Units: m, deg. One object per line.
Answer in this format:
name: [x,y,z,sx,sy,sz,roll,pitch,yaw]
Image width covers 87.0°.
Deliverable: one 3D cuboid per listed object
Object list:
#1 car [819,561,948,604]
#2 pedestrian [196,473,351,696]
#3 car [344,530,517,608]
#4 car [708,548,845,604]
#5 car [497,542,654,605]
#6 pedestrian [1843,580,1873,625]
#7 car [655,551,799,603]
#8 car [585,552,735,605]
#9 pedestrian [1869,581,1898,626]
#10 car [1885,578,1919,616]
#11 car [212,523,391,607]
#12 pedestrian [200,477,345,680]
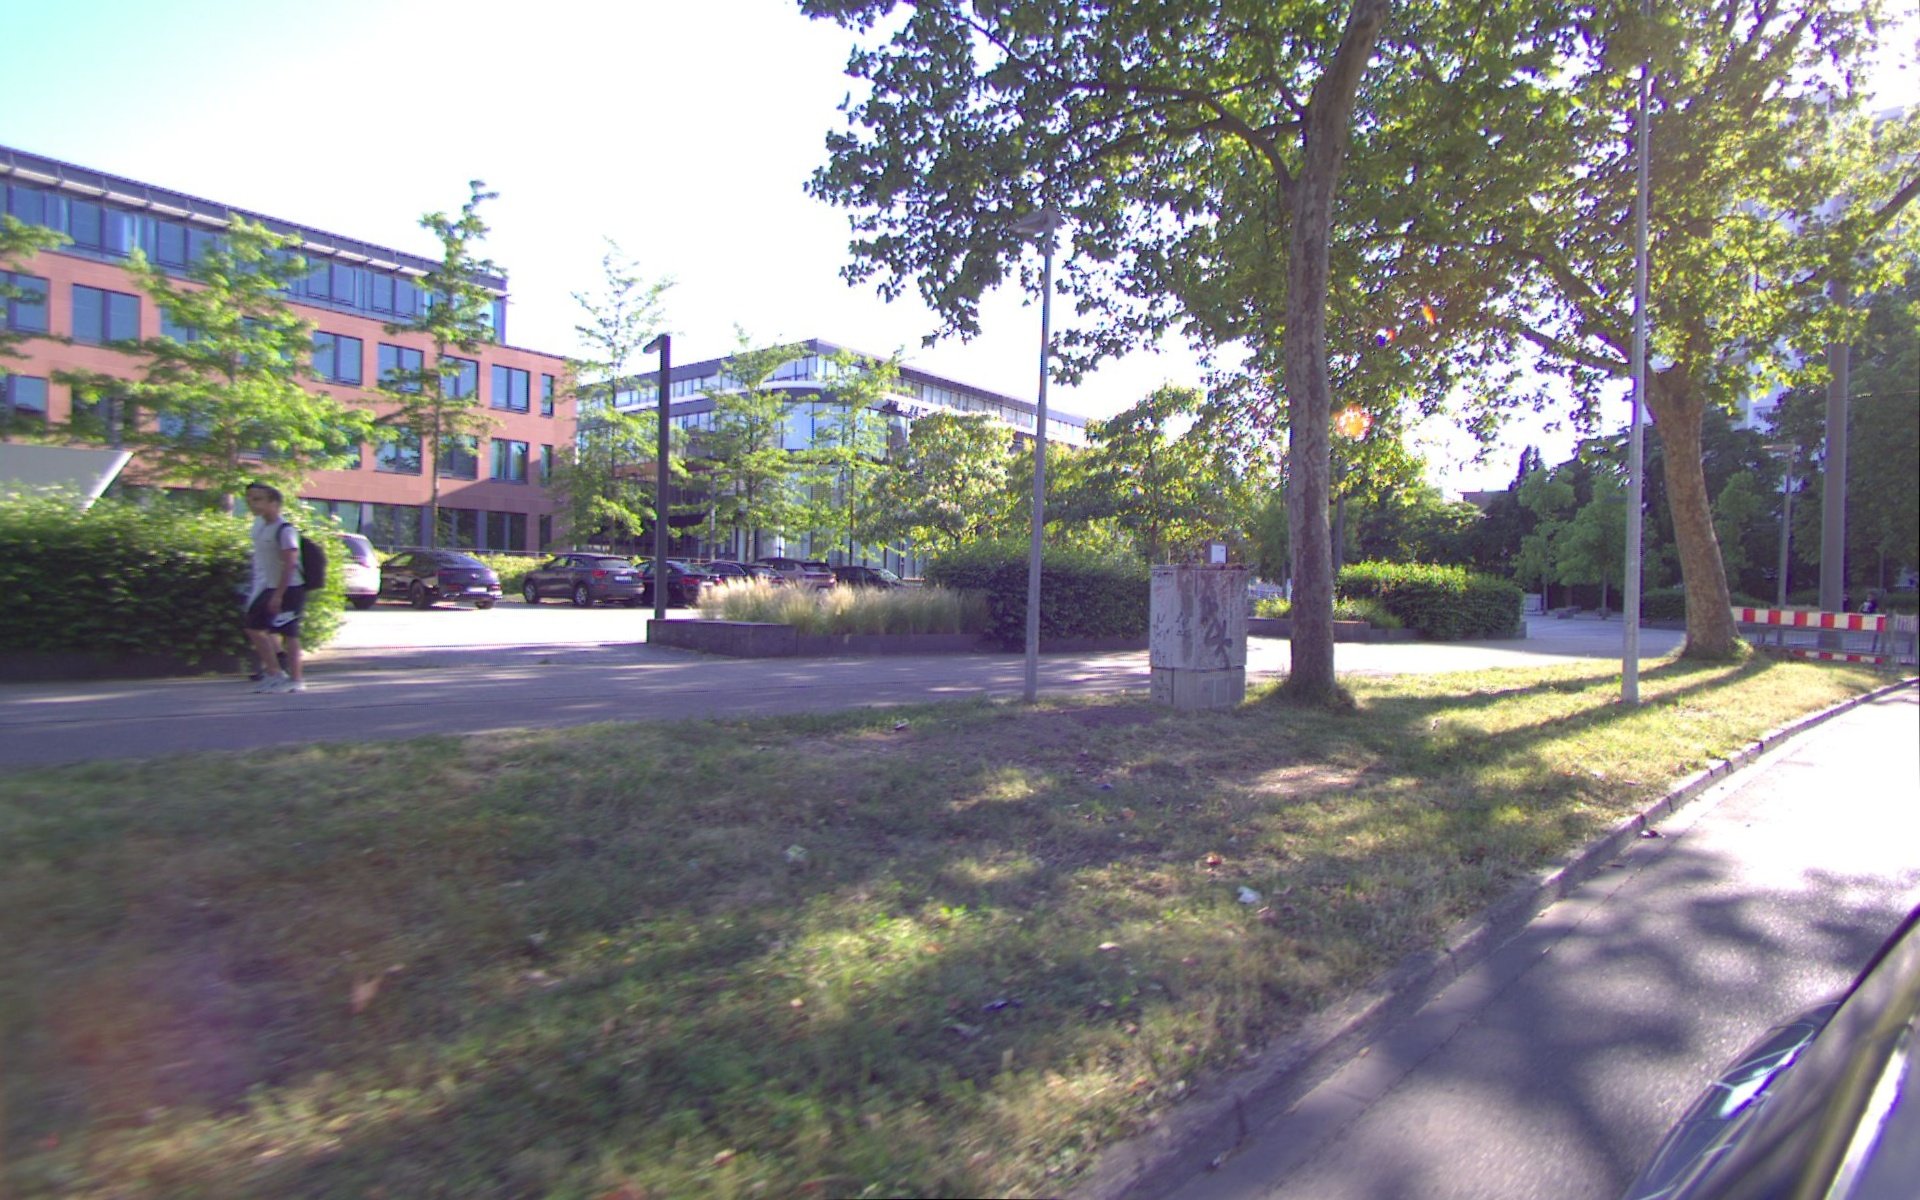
car: [-2.925,-0.663,38.228,4.659,1.503,2.045,2,1,36]
pedestrian: [-5.996,-0.139,8.864,1.065,1.815,0.753,1,2,-35]
car: [-13.149,-0.788,25.045,4.656,1.735,1.825,3,1,35]
car: [-6.408,-0.852,35.137,4.659,1.735,2.045,4,1,36]
car: [-11.190,-0.791,29.346,4.659,1.618,2.045,4,1,36]
pedestrian: [34.582,0.082,38.958,0.768,1.677,0.652,1,2,-35]
car: [-7.597,-0.764,32.805,4.659,1.484,1.937,4,1,36]
car: [-9.222,-0.671,30.958,4.659,1.400,1.948,4,1,36]
pedestrian: [35.028,0.116,38.372,0.726,1.677,0.630,1,2,-35]
car: [65.912,-0.177,69.501,6.223,2.531,2.000,0,-1,-33]
car: [-15.320,-0.843,23.466,4.656,1.735,1.825,3,1,35]
pedestrian: [-6.548,-0.207,9.663,1.089,1.815,0.808,1,2,-35]
